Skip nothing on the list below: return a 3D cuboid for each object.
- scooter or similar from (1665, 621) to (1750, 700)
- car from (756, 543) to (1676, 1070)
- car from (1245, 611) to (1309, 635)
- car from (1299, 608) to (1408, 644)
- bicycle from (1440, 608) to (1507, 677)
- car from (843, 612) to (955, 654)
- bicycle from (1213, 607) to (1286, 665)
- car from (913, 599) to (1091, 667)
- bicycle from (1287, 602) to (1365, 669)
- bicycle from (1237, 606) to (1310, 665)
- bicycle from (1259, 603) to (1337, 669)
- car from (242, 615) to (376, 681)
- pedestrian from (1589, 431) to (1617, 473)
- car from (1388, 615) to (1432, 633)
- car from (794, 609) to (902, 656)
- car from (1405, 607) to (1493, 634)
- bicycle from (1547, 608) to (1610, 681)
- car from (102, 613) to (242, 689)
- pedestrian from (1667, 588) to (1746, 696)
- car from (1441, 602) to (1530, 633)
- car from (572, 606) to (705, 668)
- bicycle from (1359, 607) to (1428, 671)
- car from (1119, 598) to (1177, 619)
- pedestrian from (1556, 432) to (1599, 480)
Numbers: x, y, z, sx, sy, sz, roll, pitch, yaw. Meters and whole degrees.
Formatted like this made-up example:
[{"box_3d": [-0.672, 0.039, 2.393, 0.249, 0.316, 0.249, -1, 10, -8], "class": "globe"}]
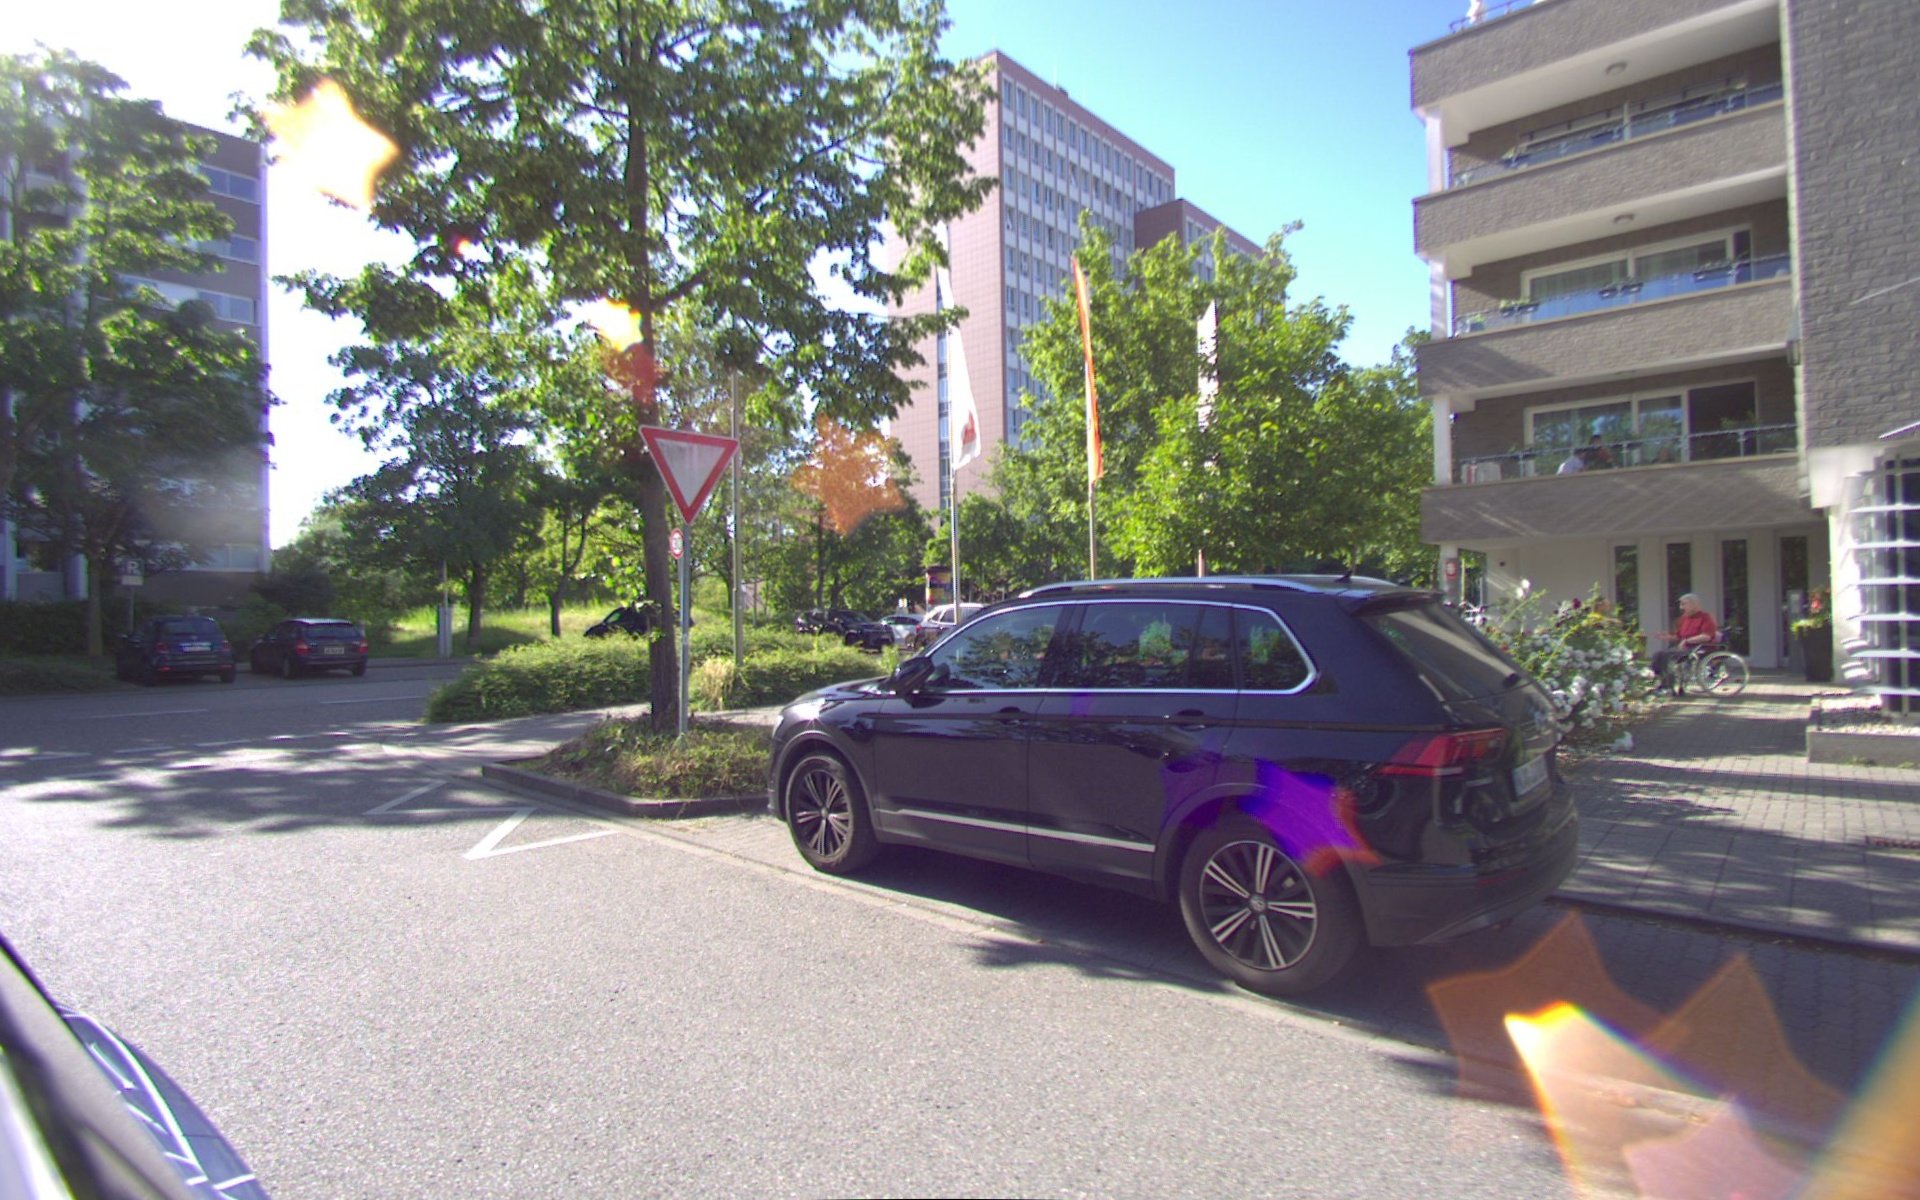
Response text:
[{"box_3d": [9.704, 0.771, 13.132, 0.805, 0.961, 0.857, -3, -2, 40], "class": "scooter or similar"}, {"box_3d": [0.983, 0.646, 5.312, 4.339, 1.632, 1.866, 0, 0, 43], "class": "car"}, {"box_3d": [21.659, 1.582, 69.217, 3.843, 1.457, 1.571, 2, -1, 39], "class": "car"}, {"box_3d": [16.872, 1.123, 43.484, 3.994, 1.422, 1.794, -3, -2, 38], "class": "car"}, {"box_3d": [8.454, 0.670, 16.617, 0.438, 1.055, 2.163, -3, -2, 41], "class": "bicycle"}, {"box_3d": [-2.482, 1.357, 40.741, 4.452, 1.557, 1.794, -3, -2, 39], "class": "car"}, {"box_3d": [5.592, 0.665, 19.468, 0.438, 1.055, 2.163, -3, -2, 41], "class": "bicycle"}, {"box_3d": [0.959, 0.840, 24.909, 4.205, 1.531, 1.747, -3, -2, 42], "class": "car"}, {"box_3d": [6.151, 0.566, 16.930, 0.438, 1.055, 2.163, -3, -2, 41], "class": "bicycle"}, {"box_3d": [5.957, 0.646, 19.151, 0.438, 1.055, 2.163, -3, -2, 41], "class": "bicycle"}, {"box_3d": [5.794, 0.596, 17.273, 0.438, 1.055, 2.163, -3, -2, 41], "class": "bicycle"}, {"box_3d": [-16.239, 1.131, 25.169, 3.999, 1.397, 1.797, 2, 1, 42], "class": "car"}, {"box_3d": [12.026, -2.758, 18.938, 0.415, 0.691, 0.423, -3, -2, 32], "class": "pedestrian"}, {"box_3d": [39.462, 2.107, 88.787, 1.565, 1.490, 3.208, 0, -1, -45], "class": "car"}, {"box_3d": [-4.283, 1.169, 38.347, 4.128, 1.630, 1.711, 0, 1, 40], "class": "car"}, {"box_3d": [28.241, 1.200, 58.492, 4.269, 1.491, 1.776, -2, -2, 41], "class": "car"}, {"box_3d": [9.606, 0.663, 15.680, 0.438, 1.055, 2.163, -3, -2, 41], "class": "bicycle"}, {"box_3d": [-18.018, 1.087, 23.080, 3.816, 1.510, 1.679, 1, 0, 39], "class": "car"}, {"box_3d": [9.685, 0.527, 13.126, 0.745, 1.344, 0.661, -1, -1, 42], "class": "pedestrian"}, {"box_3d": [31.146, 1.067, 60.053, 4.238, 1.614, 1.926, -5, -3, 42], "class": "car"}, {"box_3d": [-10.169, 1.087, 31.840, 4.601, 1.792, 1.972, 0, 0, 42], "class": "car"}, {"box_3d": [7.617, 0.654, 17.733, 0.438, 1.055, 2.163, -3, -2, 41], "class": "bicycle"}, {"box_3d": [16.451, 0.756, 88.743, 4.724, 1.699, 1.852, -1, -1, 38], "class": "car"}, {"box_3d": [12.044, -2.800, 19.743, 0.682, 0.804, 0.359, -3, -2, 34], "class": "pedestrian"}]
